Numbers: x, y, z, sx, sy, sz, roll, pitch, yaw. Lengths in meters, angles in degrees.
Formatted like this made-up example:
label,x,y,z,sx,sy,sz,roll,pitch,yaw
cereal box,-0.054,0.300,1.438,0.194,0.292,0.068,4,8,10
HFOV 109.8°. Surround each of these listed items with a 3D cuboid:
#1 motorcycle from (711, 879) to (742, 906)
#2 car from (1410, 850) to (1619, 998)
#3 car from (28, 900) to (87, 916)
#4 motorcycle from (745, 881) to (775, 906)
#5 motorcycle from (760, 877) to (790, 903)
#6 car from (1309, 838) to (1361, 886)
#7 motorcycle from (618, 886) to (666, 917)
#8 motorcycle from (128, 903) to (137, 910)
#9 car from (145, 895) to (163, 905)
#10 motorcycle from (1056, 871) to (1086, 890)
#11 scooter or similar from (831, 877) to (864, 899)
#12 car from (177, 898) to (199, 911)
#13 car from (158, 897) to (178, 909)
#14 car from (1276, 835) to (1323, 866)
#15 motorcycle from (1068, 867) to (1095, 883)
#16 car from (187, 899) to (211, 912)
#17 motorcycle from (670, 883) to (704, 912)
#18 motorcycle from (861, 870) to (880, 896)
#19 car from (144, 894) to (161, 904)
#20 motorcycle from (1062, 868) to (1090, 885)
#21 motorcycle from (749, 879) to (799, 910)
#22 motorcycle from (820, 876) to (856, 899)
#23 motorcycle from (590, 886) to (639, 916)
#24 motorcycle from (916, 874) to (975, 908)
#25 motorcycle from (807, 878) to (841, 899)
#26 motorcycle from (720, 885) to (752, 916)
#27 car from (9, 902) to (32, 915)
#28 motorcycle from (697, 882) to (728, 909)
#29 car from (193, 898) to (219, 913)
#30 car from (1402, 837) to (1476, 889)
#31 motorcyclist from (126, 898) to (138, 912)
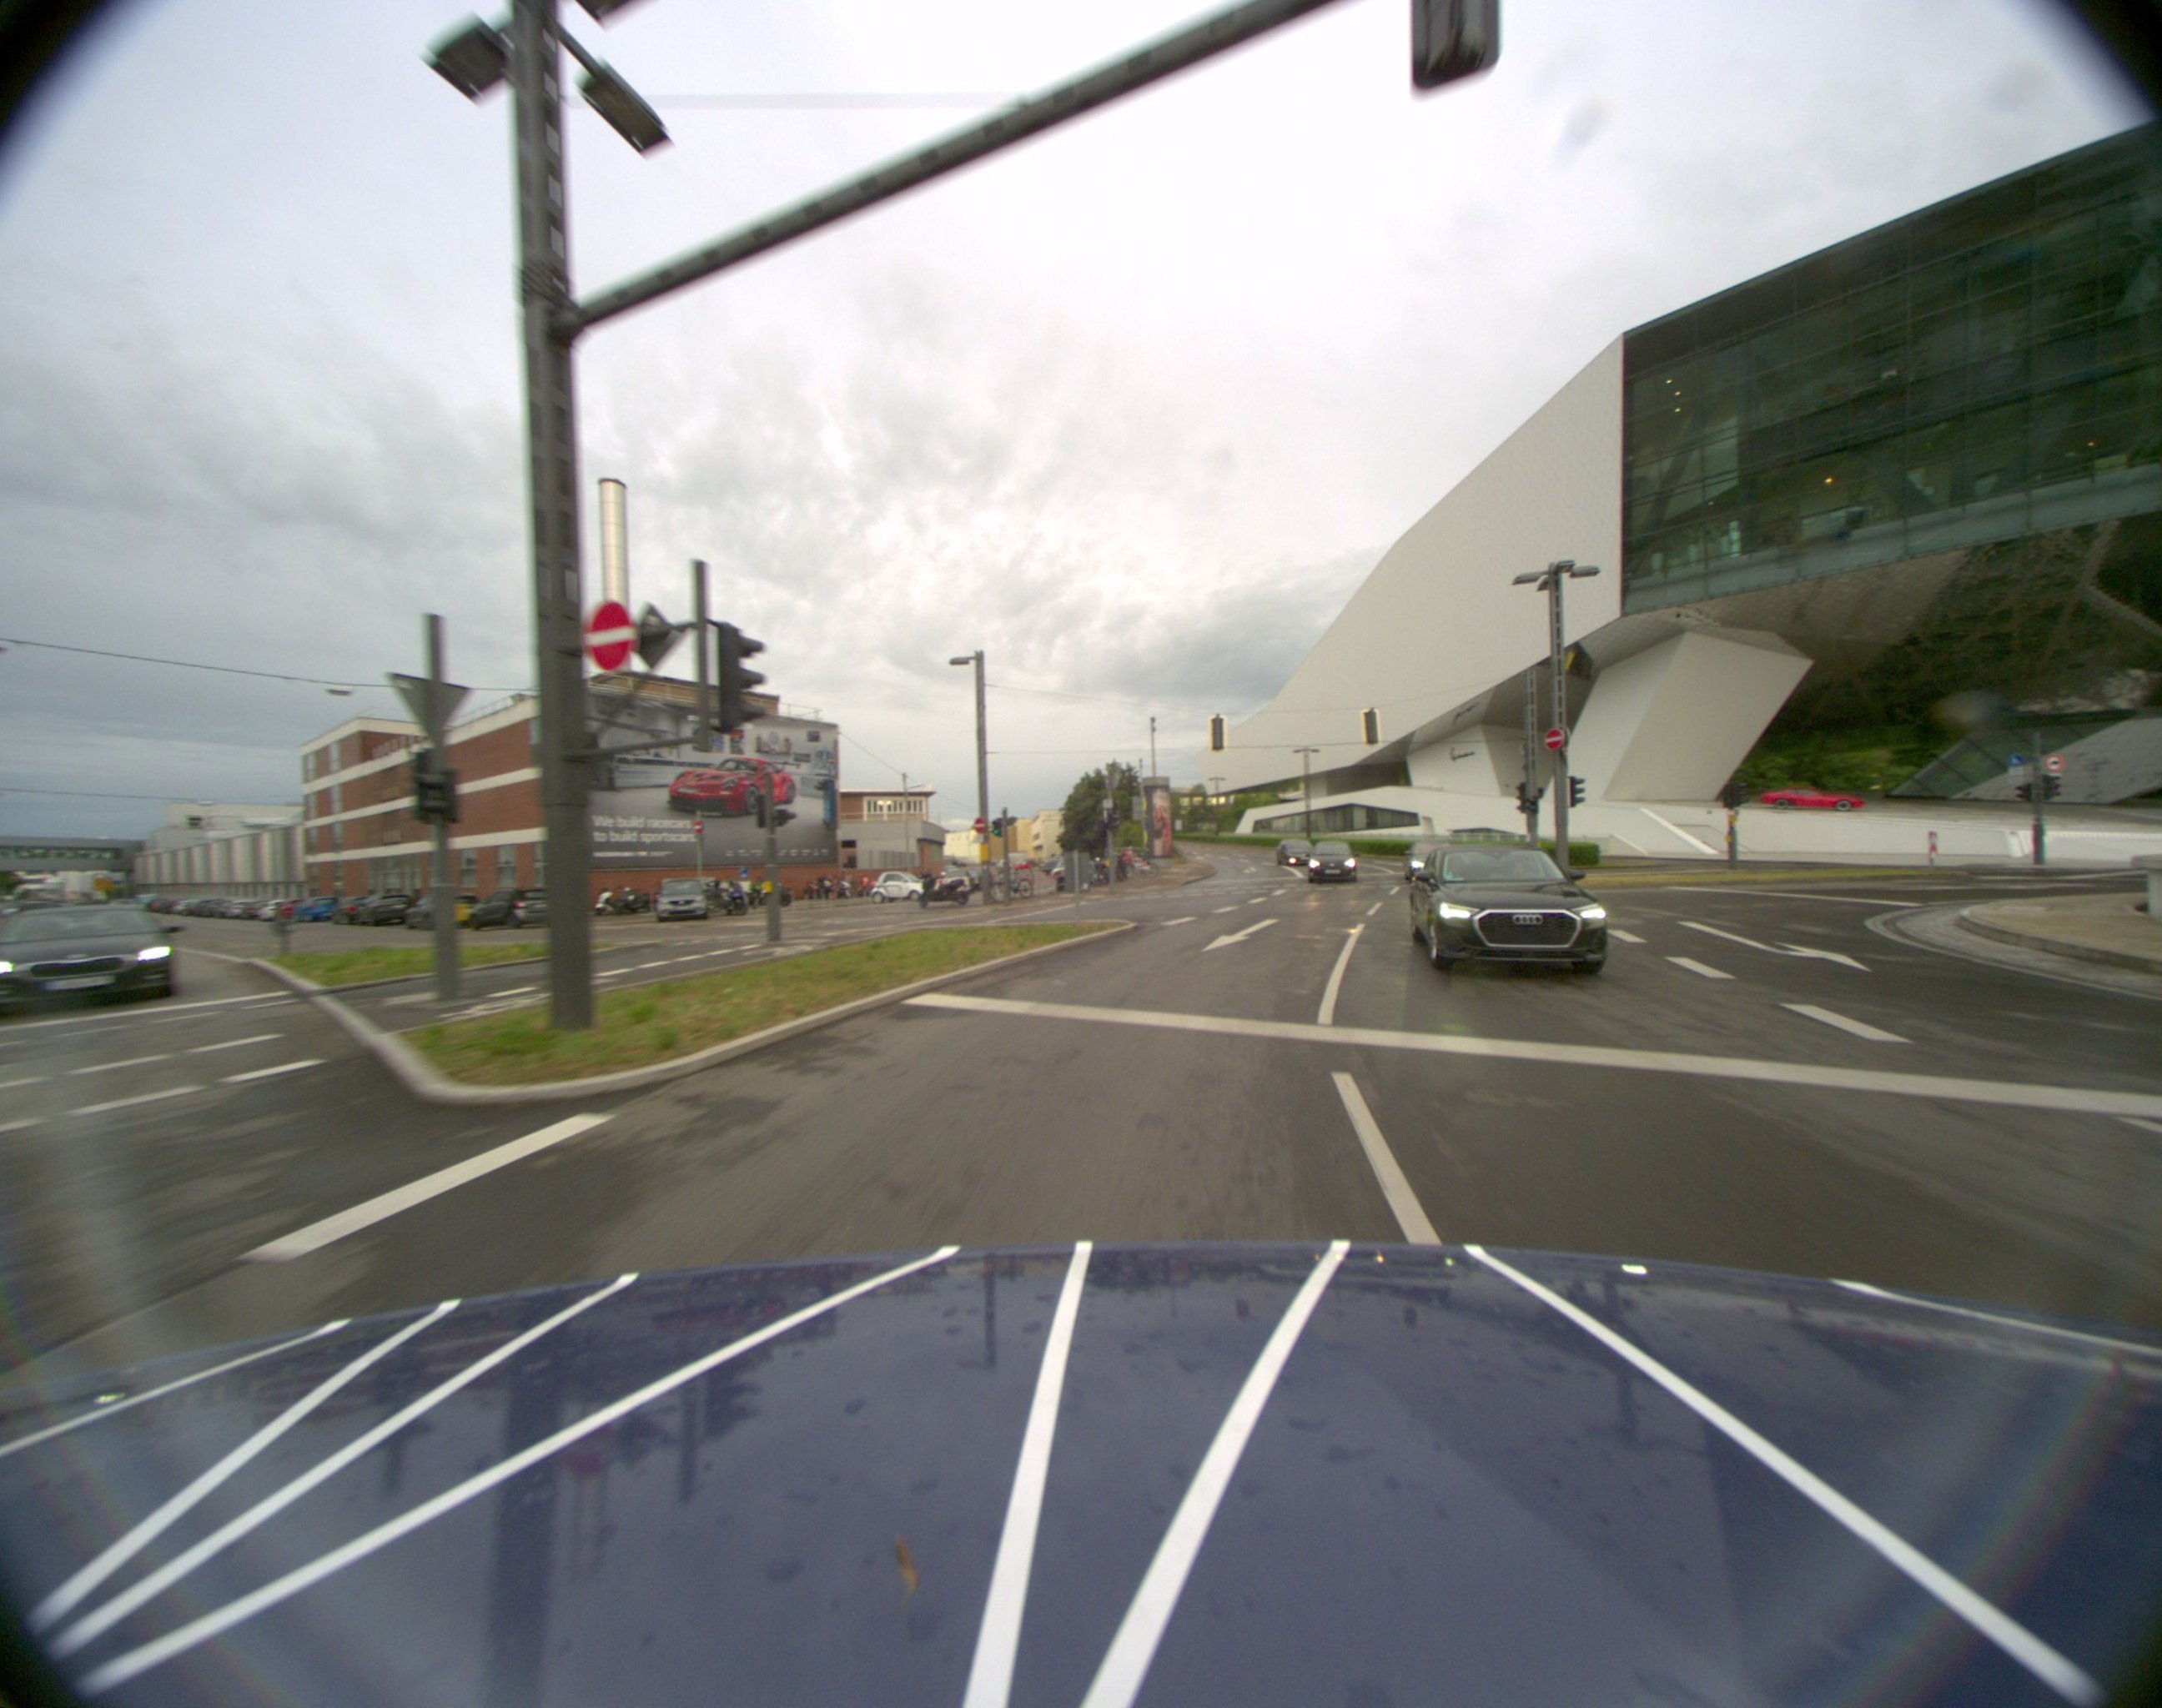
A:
label,x,y,z,sx,sy,sz,roll,pitch,yaw
motorcycle,-16.374,1.782,35.111,1.708,1.174,0.545,-1,3,40
car,5.597,0.729,10.376,1.754,1.509,4.401,0,1,20
car,-120.429,6.299,89.448,1.610,1.550,4.007,-2,1,33
motorcycle,-15.161,1.861,35.869,1.804,1.113,0.477,-1,3,42
motorcycle,-14.976,1.760,37.192,1.802,1.231,0.546,-1,1,40
car,9.593,0.262,28.528,1.691,1.499,4.015,-2,2,20
motorcycle,-18.705,1.999,32.387,0.543,1.114,1.604,-1,4,44
motorcycle,-103.113,5.710,82.627,2.220,0.666,0.567,-2,3,39
car,-129.144,6.427,105.883,3.361,1.234,1.462,-2,3,39
motorcycle,-0.569,1.517,43.229,1.616,0.917,0.482,-4,3,-8
scooter or similar,-12.836,1.874,41.746,1.636,1.090,0.504,-3,3,15
car,-102.033,5.746,86.815,3.361,1.234,1.462,-2,3,39
car,-114.710,6.160,95.485,3.361,1.234,1.462,-2,3,39
car,12.203,-0.226,42.663,1.748,1.466,4.069,-3,2,6
motorcycle,0.047,1.336,48.113,1.617,0.917,0.421,-4,3,-15
car,-93.898,5.477,80.902,3.361,1.234,1.462,-2,3,39
motorcycle,-17.417,1.922,33.574,1.643,1.174,0.676,-1,3,40
motorcycle,-12.014,1.644,43.470,0.524,1.326,1.669,-3,2,0
car,-138.709,6.699,113.534,3.361,1.234,1.462,-2,3,39
motorcycle,-0.291,1.364,47.206,1.617,0.917,0.421,-4,3,-15
motorcycle,-13.045,1.723,32.351,0.543,1.105,1.868,-1,3,36
motorcycle,-13.101,1.794,40.953,1.718,1.146,0.585,-3,3,15
motorcycle,-20.097,2.009,32.735,0.543,1.105,1.651,-1,4,44
motorcycle,-4.917,1.335,27.528,2.090,1.139,0.489,-3,3,21
motorcycle,-13.458,1.808,39.755,1.613,0.968,0.541,-3,3,15
motorcycle,-13.416,1.791,29.531,0.496,1.140,1.719,-6,4,-45
car,-134.949,6.940,96.655,3.989,1.550,1.617,-2,1,35
motorcycle,-16.730,1.868,34.436,1.643,1.174,0.545,-1,3,40
car,-88.832,5.223,77.135,3.361,1.234,1.462,-2,3,39
car,12.054,0.258,25.822,1.814,1.431,4.306,-2,2,20
motorcyclist,-103.168,5.532,82.619,1.016,1.366,0.736,-1,3,39
